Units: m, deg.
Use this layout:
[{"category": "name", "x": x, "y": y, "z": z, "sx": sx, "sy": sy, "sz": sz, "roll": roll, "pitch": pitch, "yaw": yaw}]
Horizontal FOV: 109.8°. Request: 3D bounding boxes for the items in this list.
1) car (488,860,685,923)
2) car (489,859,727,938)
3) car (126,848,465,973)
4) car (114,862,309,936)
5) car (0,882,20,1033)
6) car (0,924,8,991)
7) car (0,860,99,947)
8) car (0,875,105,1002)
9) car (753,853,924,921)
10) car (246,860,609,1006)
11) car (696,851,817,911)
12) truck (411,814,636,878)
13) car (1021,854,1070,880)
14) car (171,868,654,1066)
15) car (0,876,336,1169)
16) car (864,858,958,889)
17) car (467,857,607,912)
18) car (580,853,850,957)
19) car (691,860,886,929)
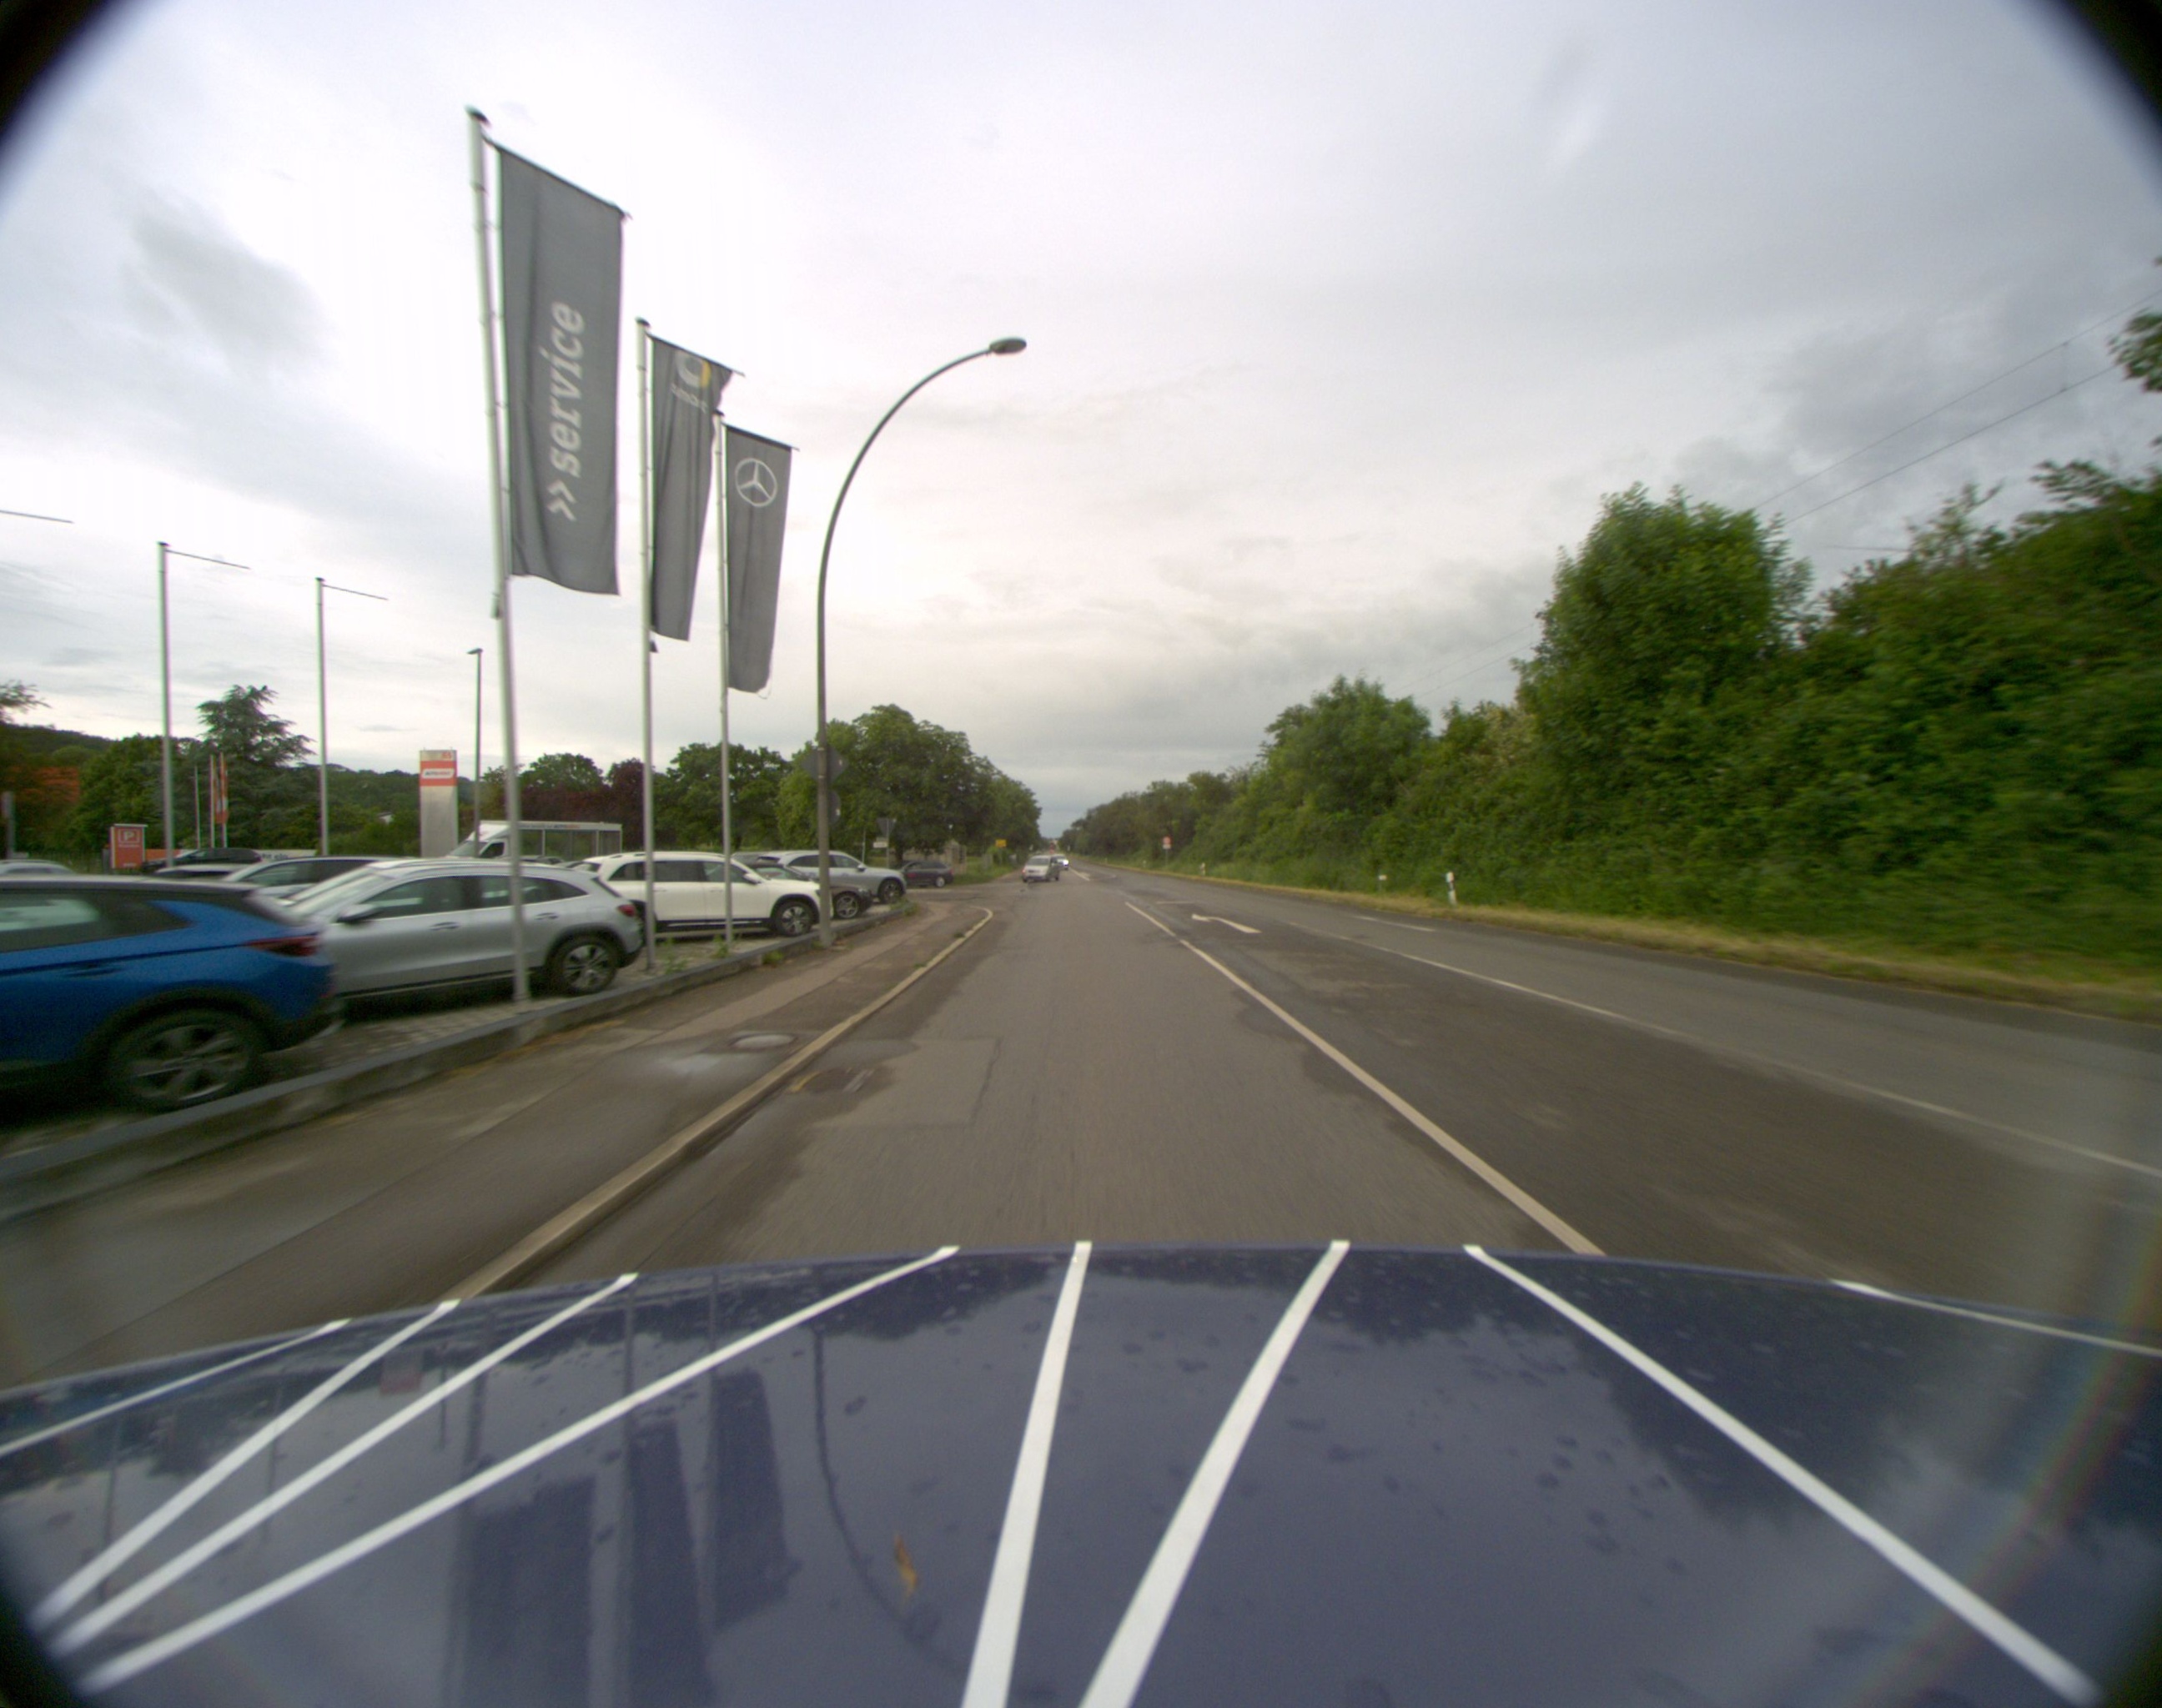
[{"category": "car", "x": -13.100, "y": 0.931, "z": 20.289, "sx": 4.133, "sy": 1.452, "sz": 1.767, "roll": -1, "pitch": -1, "yaw": -43}, {"category": "car", "x": -11.094, "y": 0.962, "z": 18.195, "sx": 1.961, "sy": 1.490, "sz": 4.372, "roll": -2, "pitch": 1, "yaw": 28}, {"category": "car", "x": -14.199, "y": 0.912, "z": 13.997, "sx": 1.674, "sy": 1.711, "sz": 4.006, "roll": -2, "pitch": 3, "yaw": 35}, {"category": "car", "x": -19.815, "y": 0.958, "z": 17.562, "sx": 1.775, "sy": 1.452, "sz": 3.991, "roll": -1, "pitch": -1, "yaw": -30}, {"category": "car", "x": -12.859, "y": 1.106, "z": 6.712, "sx": 1.898, "sy": 1.536, "sz": 4.008, "roll": -1, "pitch": 0, "yaw": 35}, {"category": "car", "x": -17.556, "y": 1.344, "z": 9.912, "sx": 1.767, "sy": 1.632, "sz": 3.993, "roll": -2, "pitch": 3, "yaw": 35}, {"category": "car", "x": -20.316, "y": 0.899, "z": 13.743, "sx": 1.775, "sy": 1.542, "sz": 3.443, "roll": -1, "pitch": -1, "yaw": -27}, {"category": "car", "x": -14.780, "y": 1.094, "z": 8.864, "sx": 1.898, "sy": 1.536, "sz": 4.008, "roll": -1, "pitch": 0, "yaw": 34}, {"category": "car", "x": -7.066, "y": 0.906, "z": 22.518, "sx": 1.961, "sy": 1.661, "sz": 4.373, "roll": -1, "pitch": 1, "yaw": 42}, {"category": "car", "x": -8.948, "y": 0.929, "z": 10.665, "sx": 1.659, "sy": 1.590, "sz": 3.566, "roll": 1, "pitch": 1, "yaw": 37}, {"category": "car", "x": -10.350, "y": 0.776, "z": 24.686, "sx": 1.812, "sy": 1.663, "sz": 4.709, "roll": -2, "pitch": 1, "yaw": 0}, {"category": "truck", "x": -26.735, "y": -0.509, "z": 37.127, "sx": 2.783, "sy": 2.608, "sz": 8.485, "roll": -3, "pitch": 1, "yaw": 22}, {"category": "car", "x": -2.163, "y": 0.810, "z": 47.786, "sx": 1.996, "sy": 1.537, "sz": 4.004, "roll": -1, "pitch": 0, "yaw": 13}, {"category": "car", "x": -7.274, "y": 1.025, "z": 8.637, "sx": 1.727, "sy": 1.590, "sz": 3.822, "roll": 1, "pitch": 1, "yaw": 37}, {"category": "car", "x": -7.595, "y": 1.053, "z": 4.429, "sx": 1.838, "sy": 1.623, "sz": 4.375, "roll": 1, "pitch": 2, "yaw": 37}, {"category": "car", "x": -8.682, "y": 0.972, "z": 38.936, "sx": 4.267, "sy": 1.443, "sz": 1.793, "roll": -2, "pitch": 0, "yaw": -37}, {"category": "car", "x": -16.214, "y": 0.855, "z": 22.966, "sx": 2.076, "sy": 1.452, "sz": 4.758, "roll": -1, "pitch": -1, "yaw": -18}, {"category": "car", "x": -7.027, "y": 0.859, "z": 14.765, "sx": 4.435, "sy": 1.643, "sz": 1.922, "roll": -2, "pitch": 1, "yaw": -35}, {"category": "car", "x": -7.069, "y": 0.897, "z": 18.431, "sx": 4.148, "sy": 1.386, "sz": 1.847, "roll": -2, "pitch": 1, "yaw": -30}]
